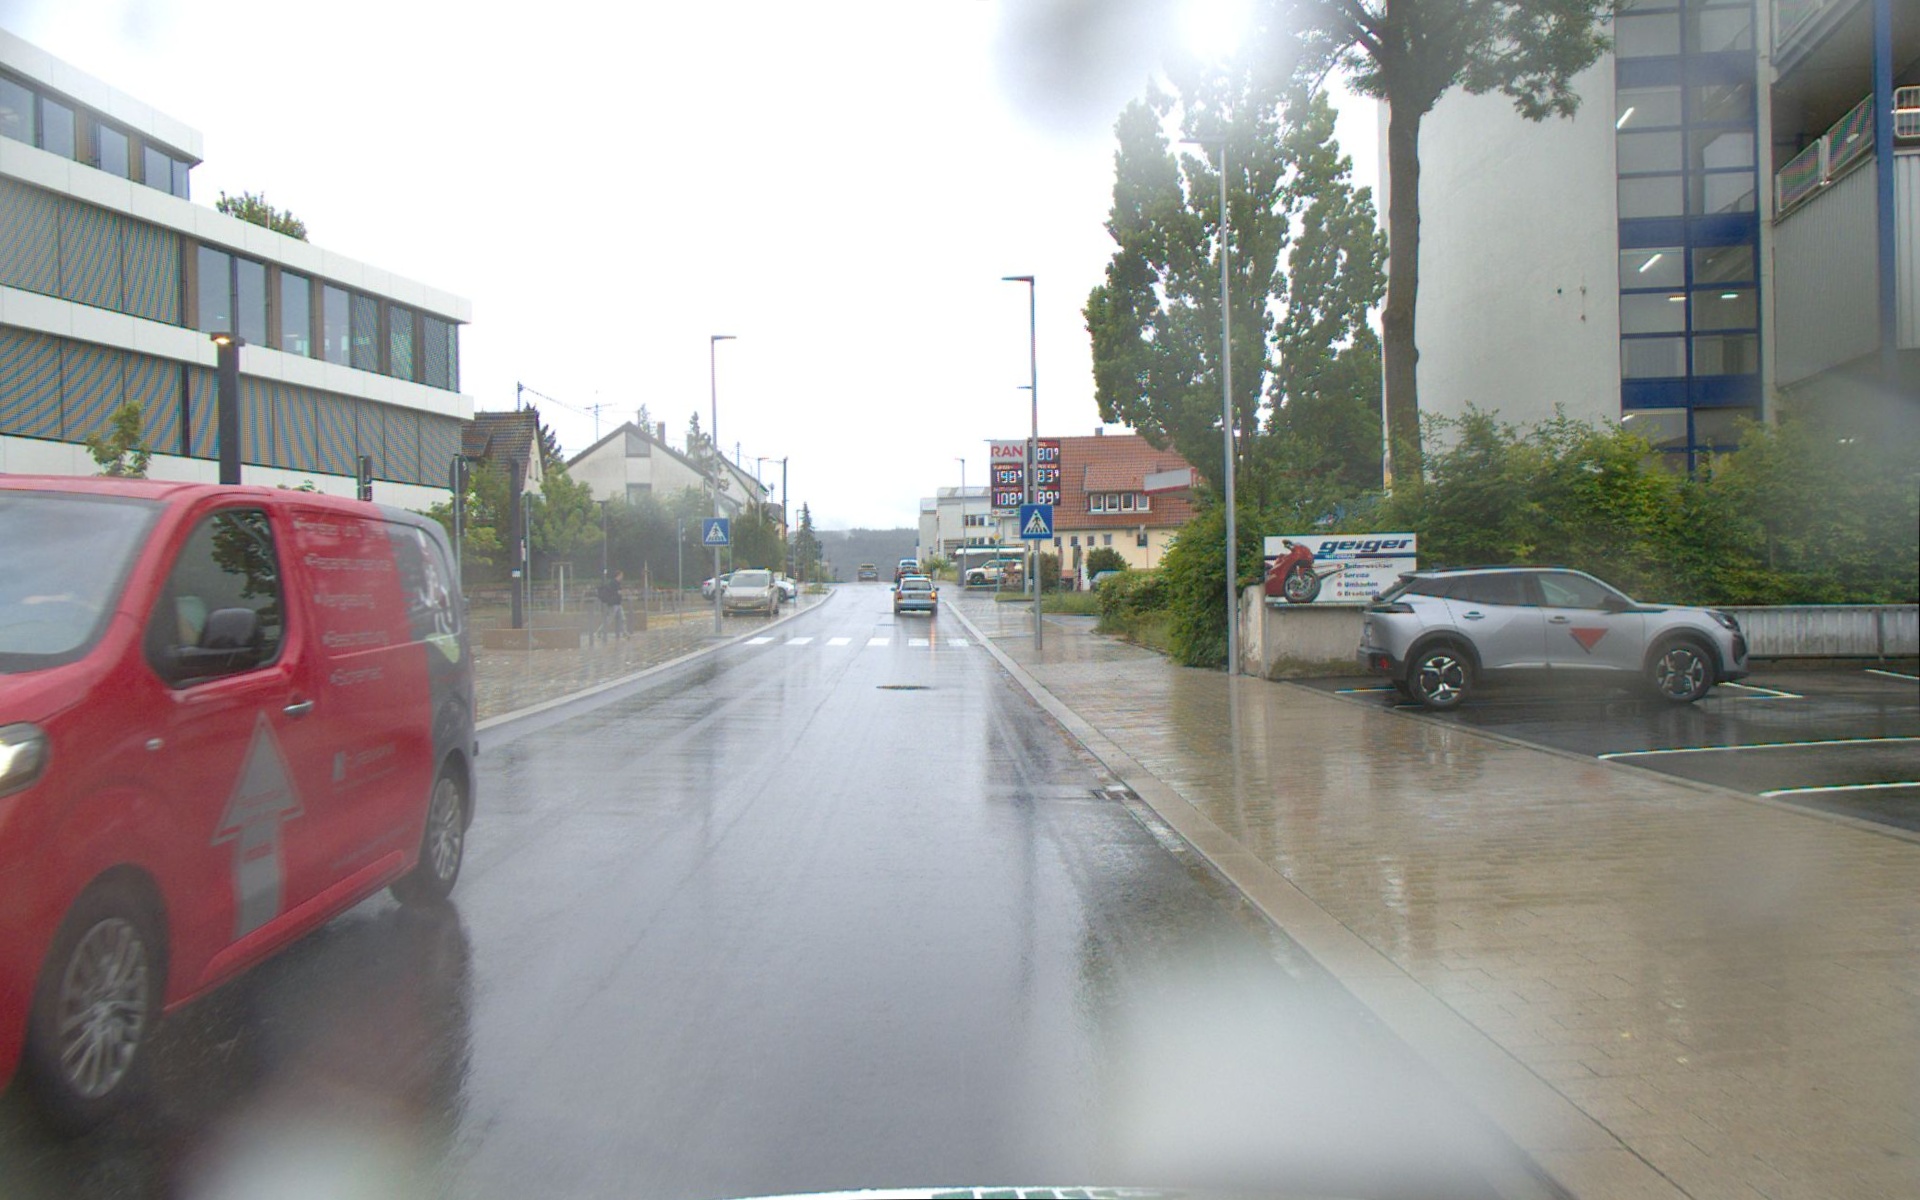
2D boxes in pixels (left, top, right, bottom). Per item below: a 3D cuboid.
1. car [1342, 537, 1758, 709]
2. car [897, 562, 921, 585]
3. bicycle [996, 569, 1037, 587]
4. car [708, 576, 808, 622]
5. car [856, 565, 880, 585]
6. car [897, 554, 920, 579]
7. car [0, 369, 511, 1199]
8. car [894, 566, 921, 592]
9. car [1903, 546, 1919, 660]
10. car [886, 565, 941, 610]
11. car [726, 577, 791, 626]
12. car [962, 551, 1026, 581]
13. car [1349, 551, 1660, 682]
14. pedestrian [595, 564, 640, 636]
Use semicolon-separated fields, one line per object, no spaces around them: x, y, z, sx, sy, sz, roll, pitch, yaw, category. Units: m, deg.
6.610;0.248;18.980;4.118;1.678;2.002;-3;0;8;car
-4.304;-2.235;139.416;1.953;1.736;3.998;3;-1;-2;car
3.548;-1.368;103.991;0.662;1.085;3.588;3;-1;-33;bicycle
-10.142;-0.053;83.128;4.655;2.049;2.000;3;-1;1;car
-8.759;-2.350;157.621;2.111;1.736;3.998;3;-1;-2;car
-4.133;-2.683;132.891;1.747;1.736;3.998;3;-1;-2;car
-3.191;0.402;5.952;1.963;1.849;4.977;-1;1;-3;car
-4.005;-1.580;126.146;1.953;1.736;3.998;3;-1;-2;car
13.089;0.051;19.536;1.891;1.467;4.210;-1;1;7;car
-1.850;-0.445;64.682;1.910;1.583;3.996;3;-1;-4;car
-7.306;0.016;60.423;1.953;1.657;4.152;-1;1;-2;car
2.268;-2.274;110.562;4.032;1.736;1.787;3;-1;-5;car
7.013;0.204;21.619;3.544;1.520;1.808;-2;0;7;car
-8.441;-0.017;40.771;0.993;1.754;0.772;0;1;-4;pedestrian
